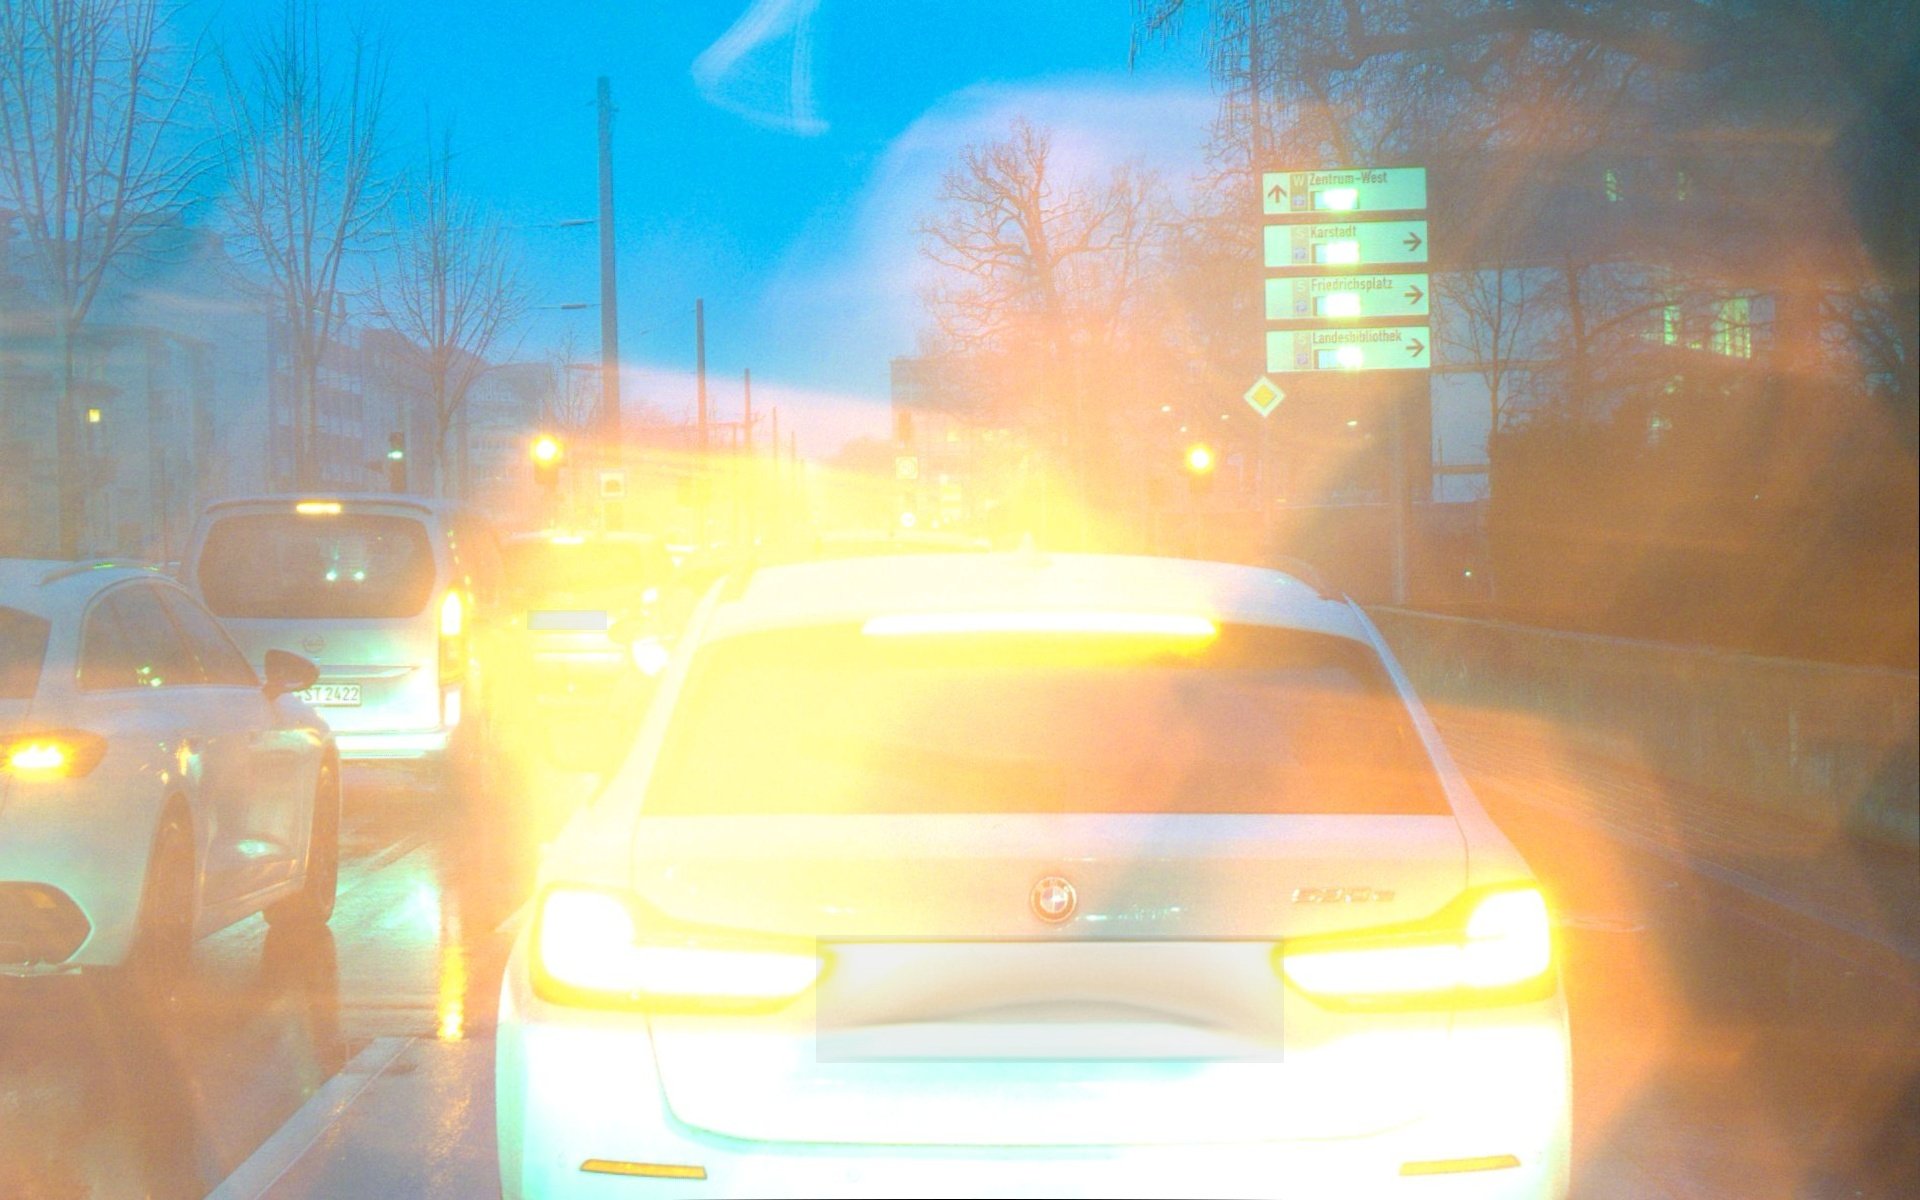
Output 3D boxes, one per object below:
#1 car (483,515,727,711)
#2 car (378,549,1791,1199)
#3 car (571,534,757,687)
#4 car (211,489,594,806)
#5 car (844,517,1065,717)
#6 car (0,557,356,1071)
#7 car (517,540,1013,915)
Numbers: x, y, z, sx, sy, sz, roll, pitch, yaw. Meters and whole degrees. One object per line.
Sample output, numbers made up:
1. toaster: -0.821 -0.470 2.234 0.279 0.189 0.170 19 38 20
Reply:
1. car: -3.106 0.070 30.803 1.806 1.640 4.000 0 1 0
2. car: 0.158 0.665 6.955 1.999 1.503 4.164 0 1 -1
3. car: -3.323 0.075 39.188 1.806 1.640 4.000 0 1 0
4. car: -3.288 0.230 21.056 1.793 1.730 4.538 0 1 -2
5. car: -0.063 0.100 30.166 1.806 1.640 4.000 0 1 0
6. car: -3.328 0.559 11.730 1.846 1.400 4.614 0 1 -2
7. car: -0.786 0.464 15.559 1.936 1.452 4.164 0 1 -1
